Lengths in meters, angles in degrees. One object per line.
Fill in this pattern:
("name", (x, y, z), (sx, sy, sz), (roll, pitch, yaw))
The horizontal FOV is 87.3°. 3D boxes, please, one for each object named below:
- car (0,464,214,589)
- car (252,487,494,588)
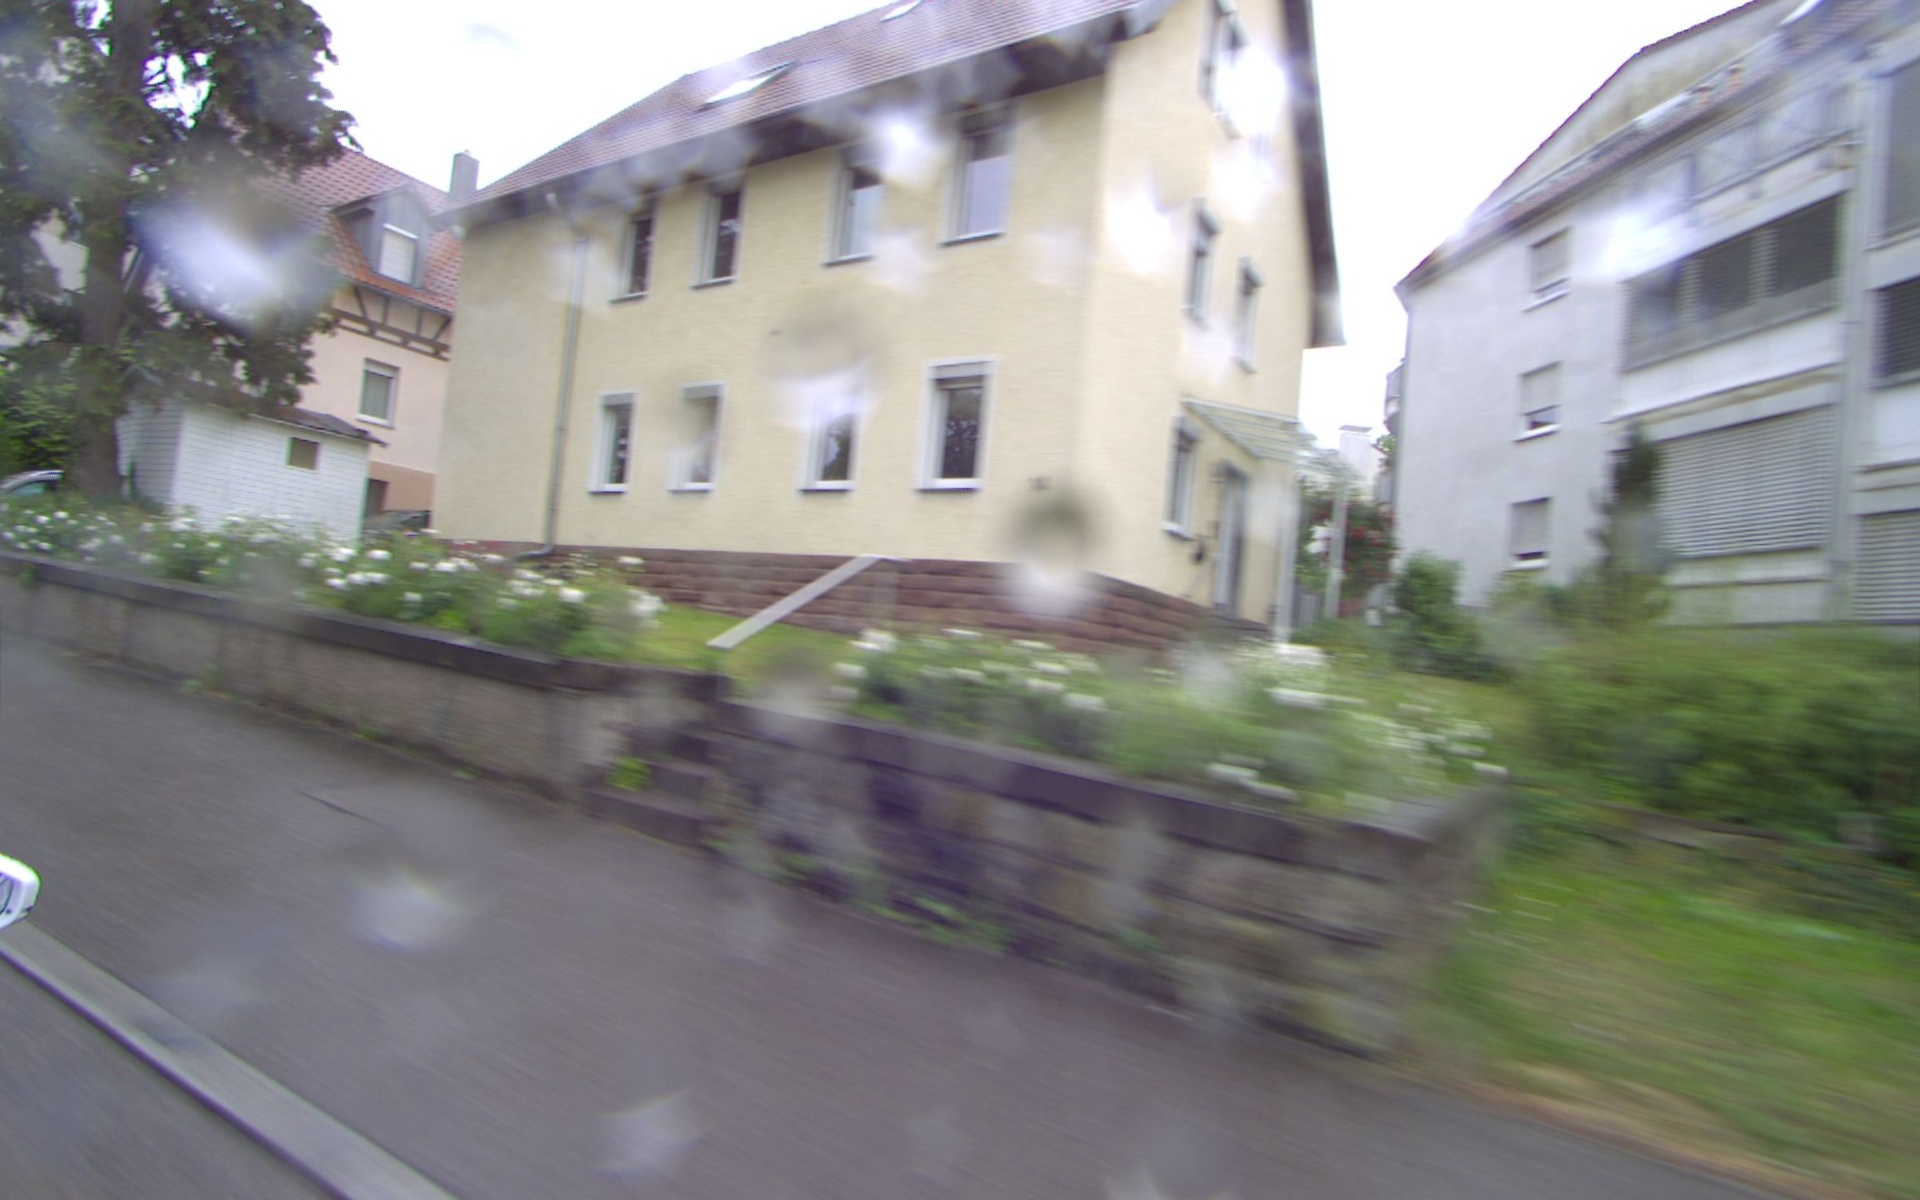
("car", (-15.192, -1.282, 16.462), (1.932, 1.673, 4.319), (7, 0, 34))
("car", (-12.155, -1.248, 21.061), (1.931, 1.675, 3.854), (7, 2, 31))
